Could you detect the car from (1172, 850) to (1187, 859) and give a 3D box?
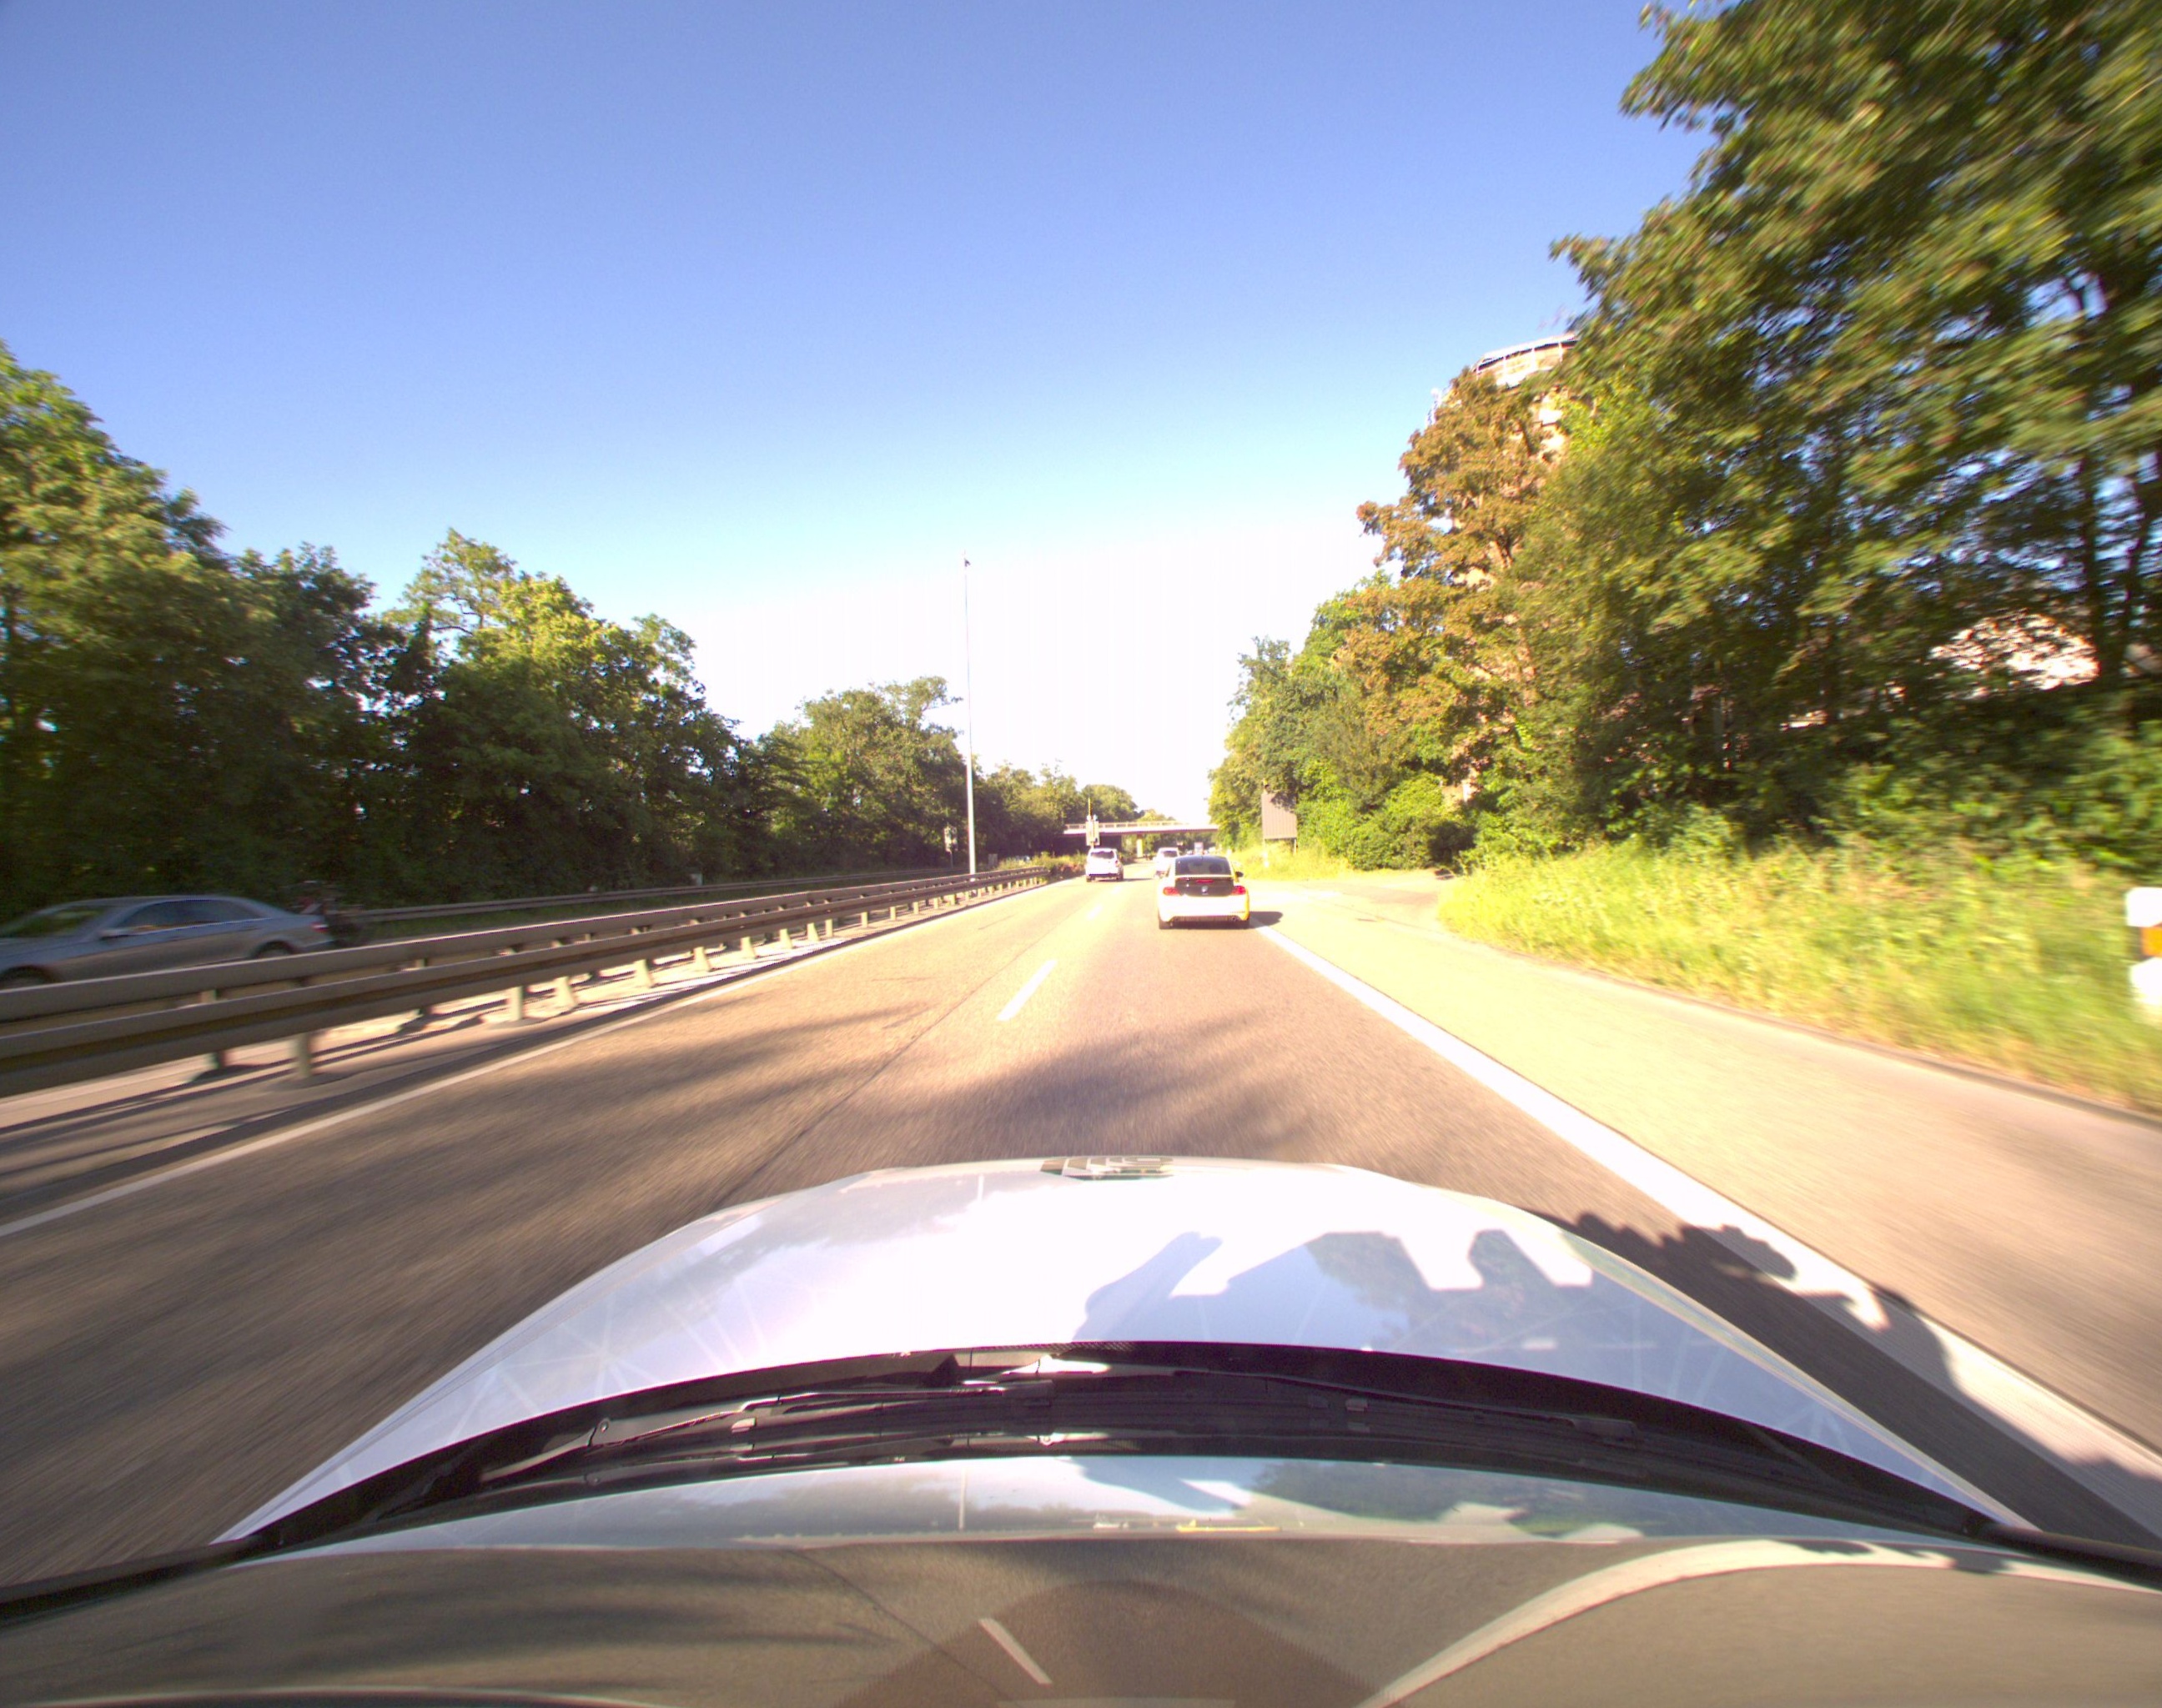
[{"bbox_3d":[15.242,0.058,125.733,1.981,1.398,4.011,-2,0,9],"label":"car"}]

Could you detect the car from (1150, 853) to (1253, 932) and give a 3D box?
[{"bbox_3d":[2.457,0.726,17.539,1.871,1.461,4.361,-1,0,4],"label":"car"}]

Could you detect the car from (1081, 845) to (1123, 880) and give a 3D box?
[{"bbox_3d":[1.189,0.421,44.332,2.076,1.828,4.004,0,0,4],"label":"car"}]

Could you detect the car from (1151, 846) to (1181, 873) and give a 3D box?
[{"bbox_3d":[5.969,0.357,57.416,1.856,1.770,4.473,-2,0,3],"label":"car"}]

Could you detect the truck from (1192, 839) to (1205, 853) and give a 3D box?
[{"bbox_3d":[36.409,-2.489,252.157,3.475,4.172,8.886,-2,0,10],"label":"truck"}]

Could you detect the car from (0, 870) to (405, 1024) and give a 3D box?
[{"bbox_3d":[-13.876,1.196,12.280,2.110,1.725,5.883,-1,0,4],"label":"car"}]
